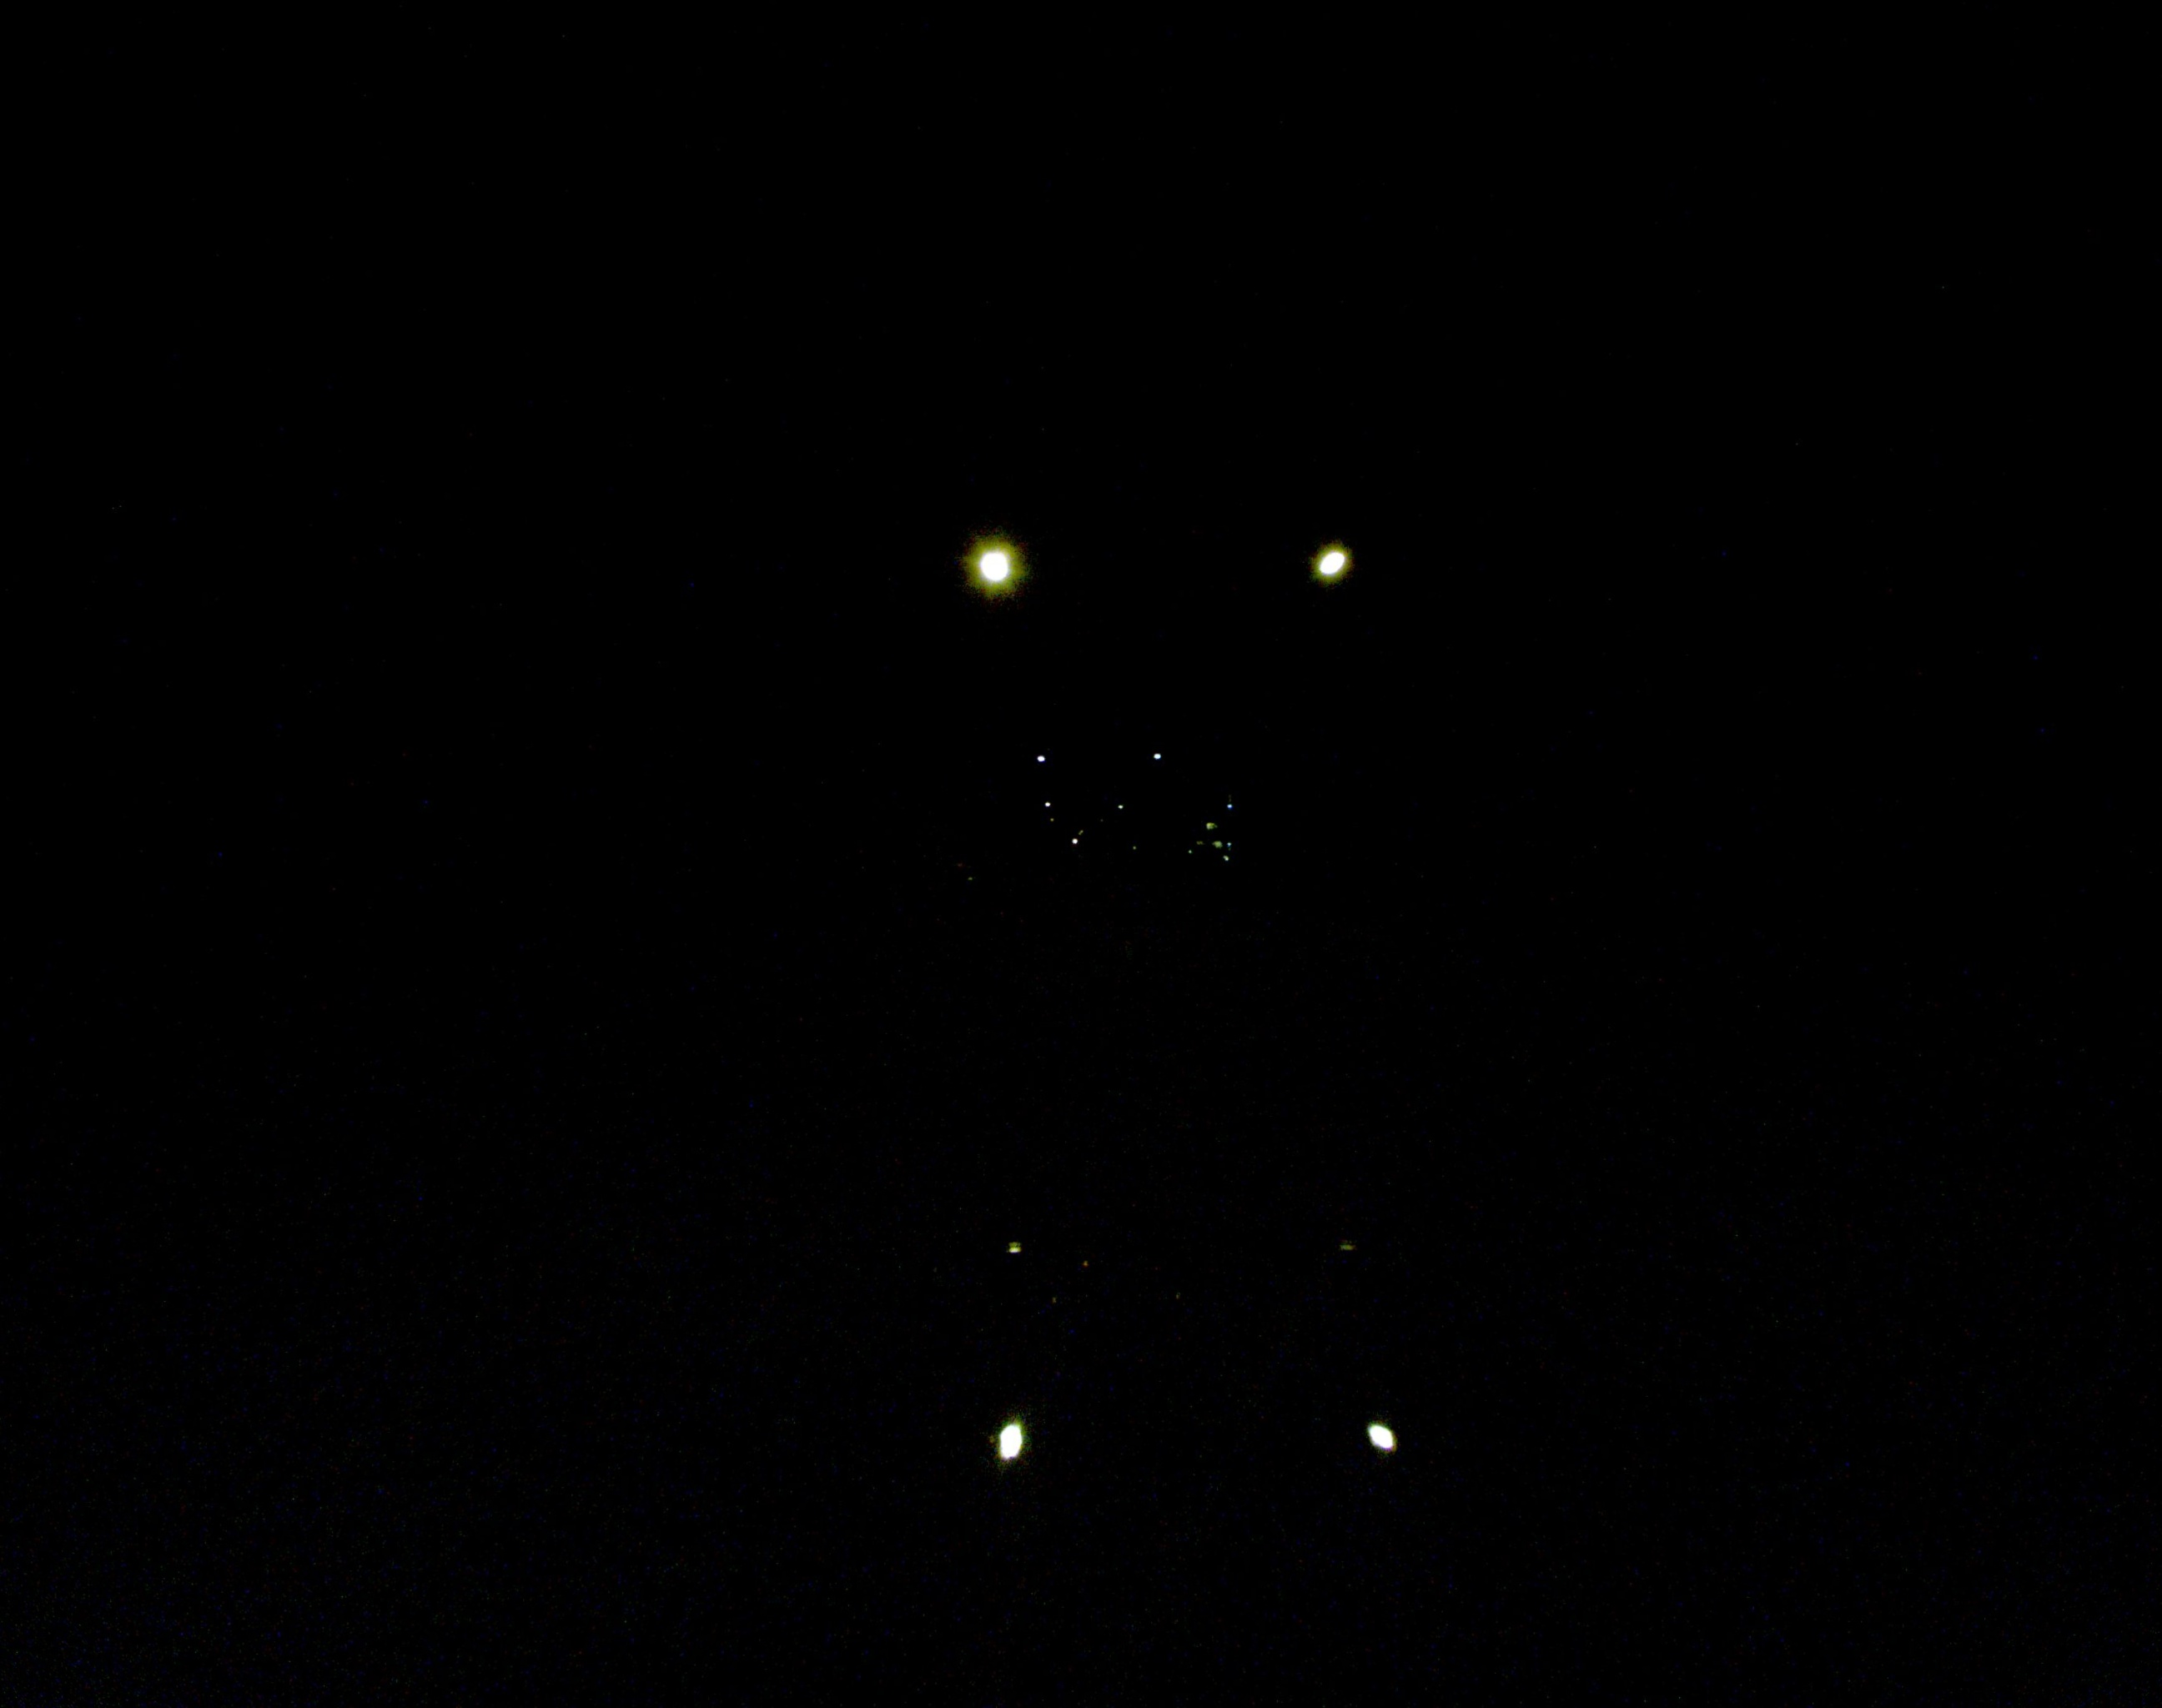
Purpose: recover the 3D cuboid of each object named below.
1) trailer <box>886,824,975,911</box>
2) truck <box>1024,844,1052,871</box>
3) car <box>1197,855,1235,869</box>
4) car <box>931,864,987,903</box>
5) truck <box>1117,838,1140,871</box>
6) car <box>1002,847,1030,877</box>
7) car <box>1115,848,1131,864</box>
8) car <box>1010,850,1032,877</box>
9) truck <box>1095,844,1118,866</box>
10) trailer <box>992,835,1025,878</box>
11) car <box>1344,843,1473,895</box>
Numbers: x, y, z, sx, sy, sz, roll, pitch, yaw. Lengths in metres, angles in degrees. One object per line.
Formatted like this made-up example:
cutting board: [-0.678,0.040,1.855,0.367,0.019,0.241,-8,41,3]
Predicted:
trailer: [-4.919,0.435,25.455,1.998,2.635,4.000,-1,0,2]
truck: [-6.245,0.482,112.788,2.515,3.815,12.661,-1,0,3]
car: [16.245,0.965,91.529,3.998,1.455,1.805,-4,0,-4]
car: [-4.916,1.152,31.212,1.731,1.378,4.675,-2,0,-3]
truck: [6.449,-0.023,104.925,2.644,4.290,12.822,1,1,1]
car: [-5.855,0.692,69.201,1.946,2.533,6.645,-2,0,-1]
car: [6.268,0.332,114.134,2.145,2.299,4.468,-2,0,0]
car: [-5.962,0.944,76.628,1.999,2.533,6.023,-2,0,-3]
truck: [4.355,0.243,132.902,2.830,3.610,10.397,-2,0,-5]
trailer: [-5.724,0.201,60.503,2.405,3.306,4.361,-2,0,-4]
car: [13.480,0.598,31.465,4.444,1.960,2.000,-2,0,-2]
